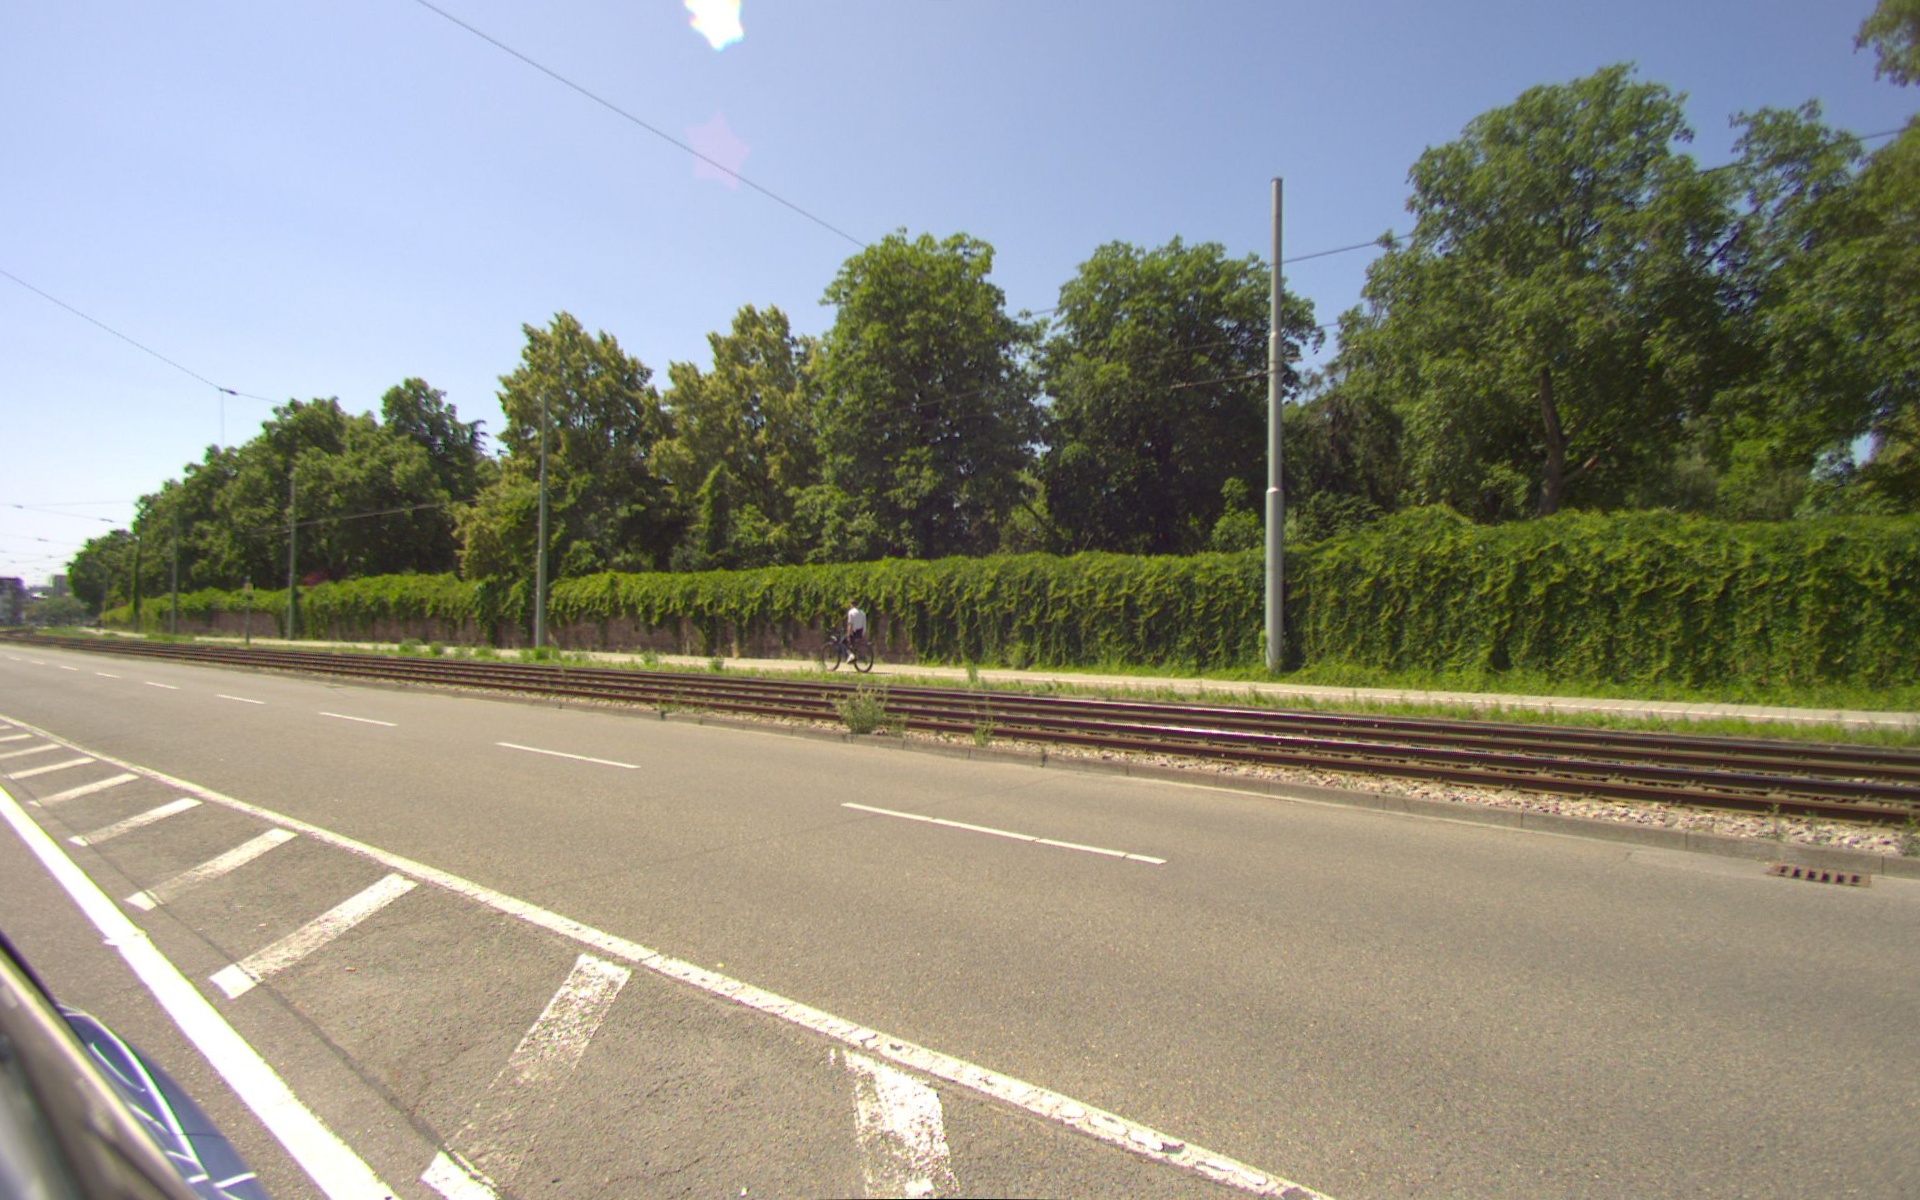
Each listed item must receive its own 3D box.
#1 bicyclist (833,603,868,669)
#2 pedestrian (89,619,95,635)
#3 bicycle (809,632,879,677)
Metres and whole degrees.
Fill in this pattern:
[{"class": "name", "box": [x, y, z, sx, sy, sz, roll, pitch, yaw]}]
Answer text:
[{"class": "bicyclist", "box": [-2.768, 0.890, 25.513, 0.768, 1.624, 0.477, -1, 0, 41]}, {"class": "pedestrian", "box": [-93.658, 2.927, 109.147, 0.302, 1.677, 0.447, -2, -1, 41]}, {"class": "bicycle", "box": [-2.959, 1.366, 25.715, 1.977, 1.063, 0.609, -1, 0, 42]}]
